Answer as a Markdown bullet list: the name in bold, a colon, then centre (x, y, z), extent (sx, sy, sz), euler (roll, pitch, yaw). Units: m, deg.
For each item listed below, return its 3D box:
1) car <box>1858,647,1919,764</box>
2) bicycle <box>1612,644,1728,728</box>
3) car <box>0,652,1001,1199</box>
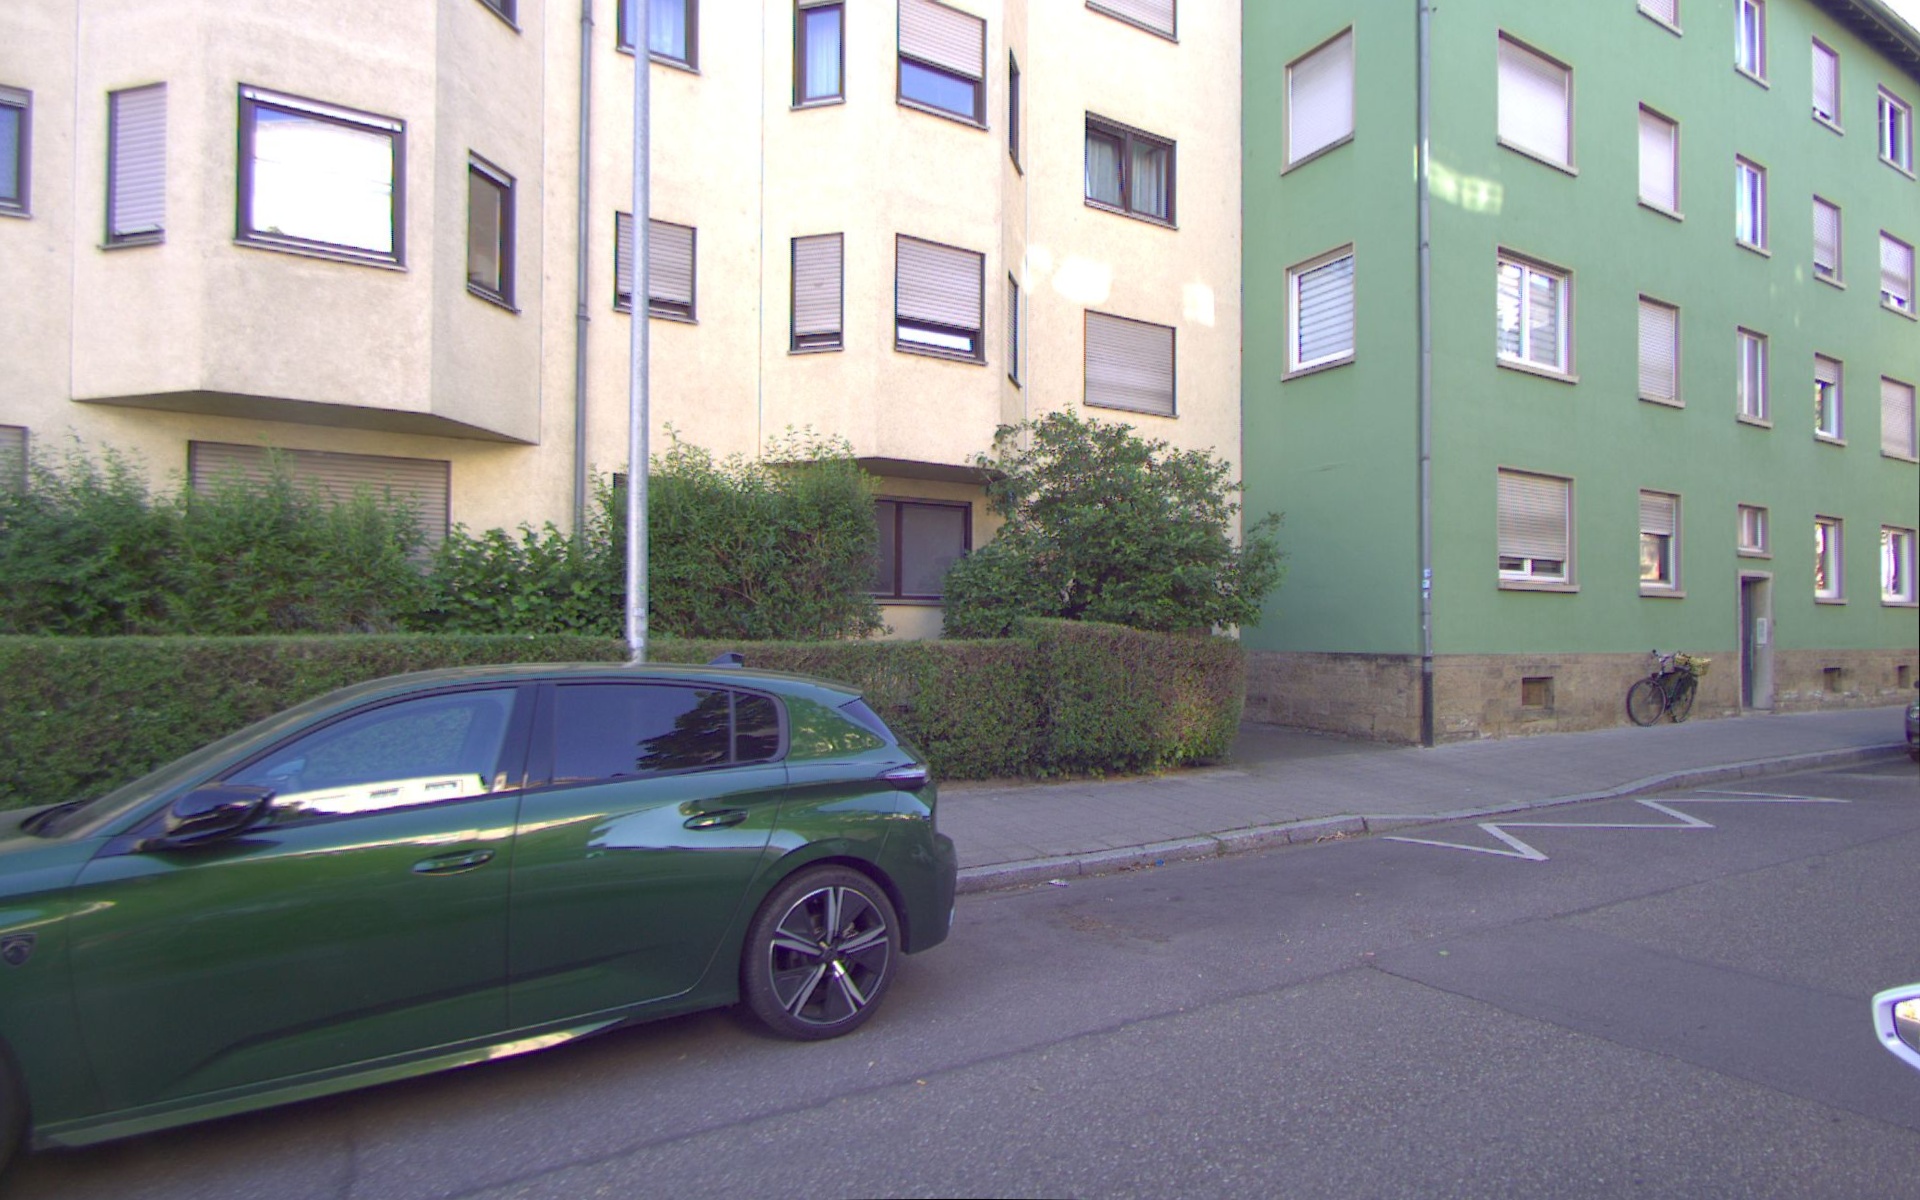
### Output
- **car**: centre (14.039, 1.343, 13.471), extent (4.071, 1.474, 1.968), euler (1, -5, -34)
- **bicycle**: centre (11.038, 1.308, 15.596), extent (2.251, 1.194, 0.548), euler (1, 1, -30)
- **car**: centre (-2.013, 0.974, 3.794), extent (4.090, 1.516, 1.743), euler (2, -4, -33)
